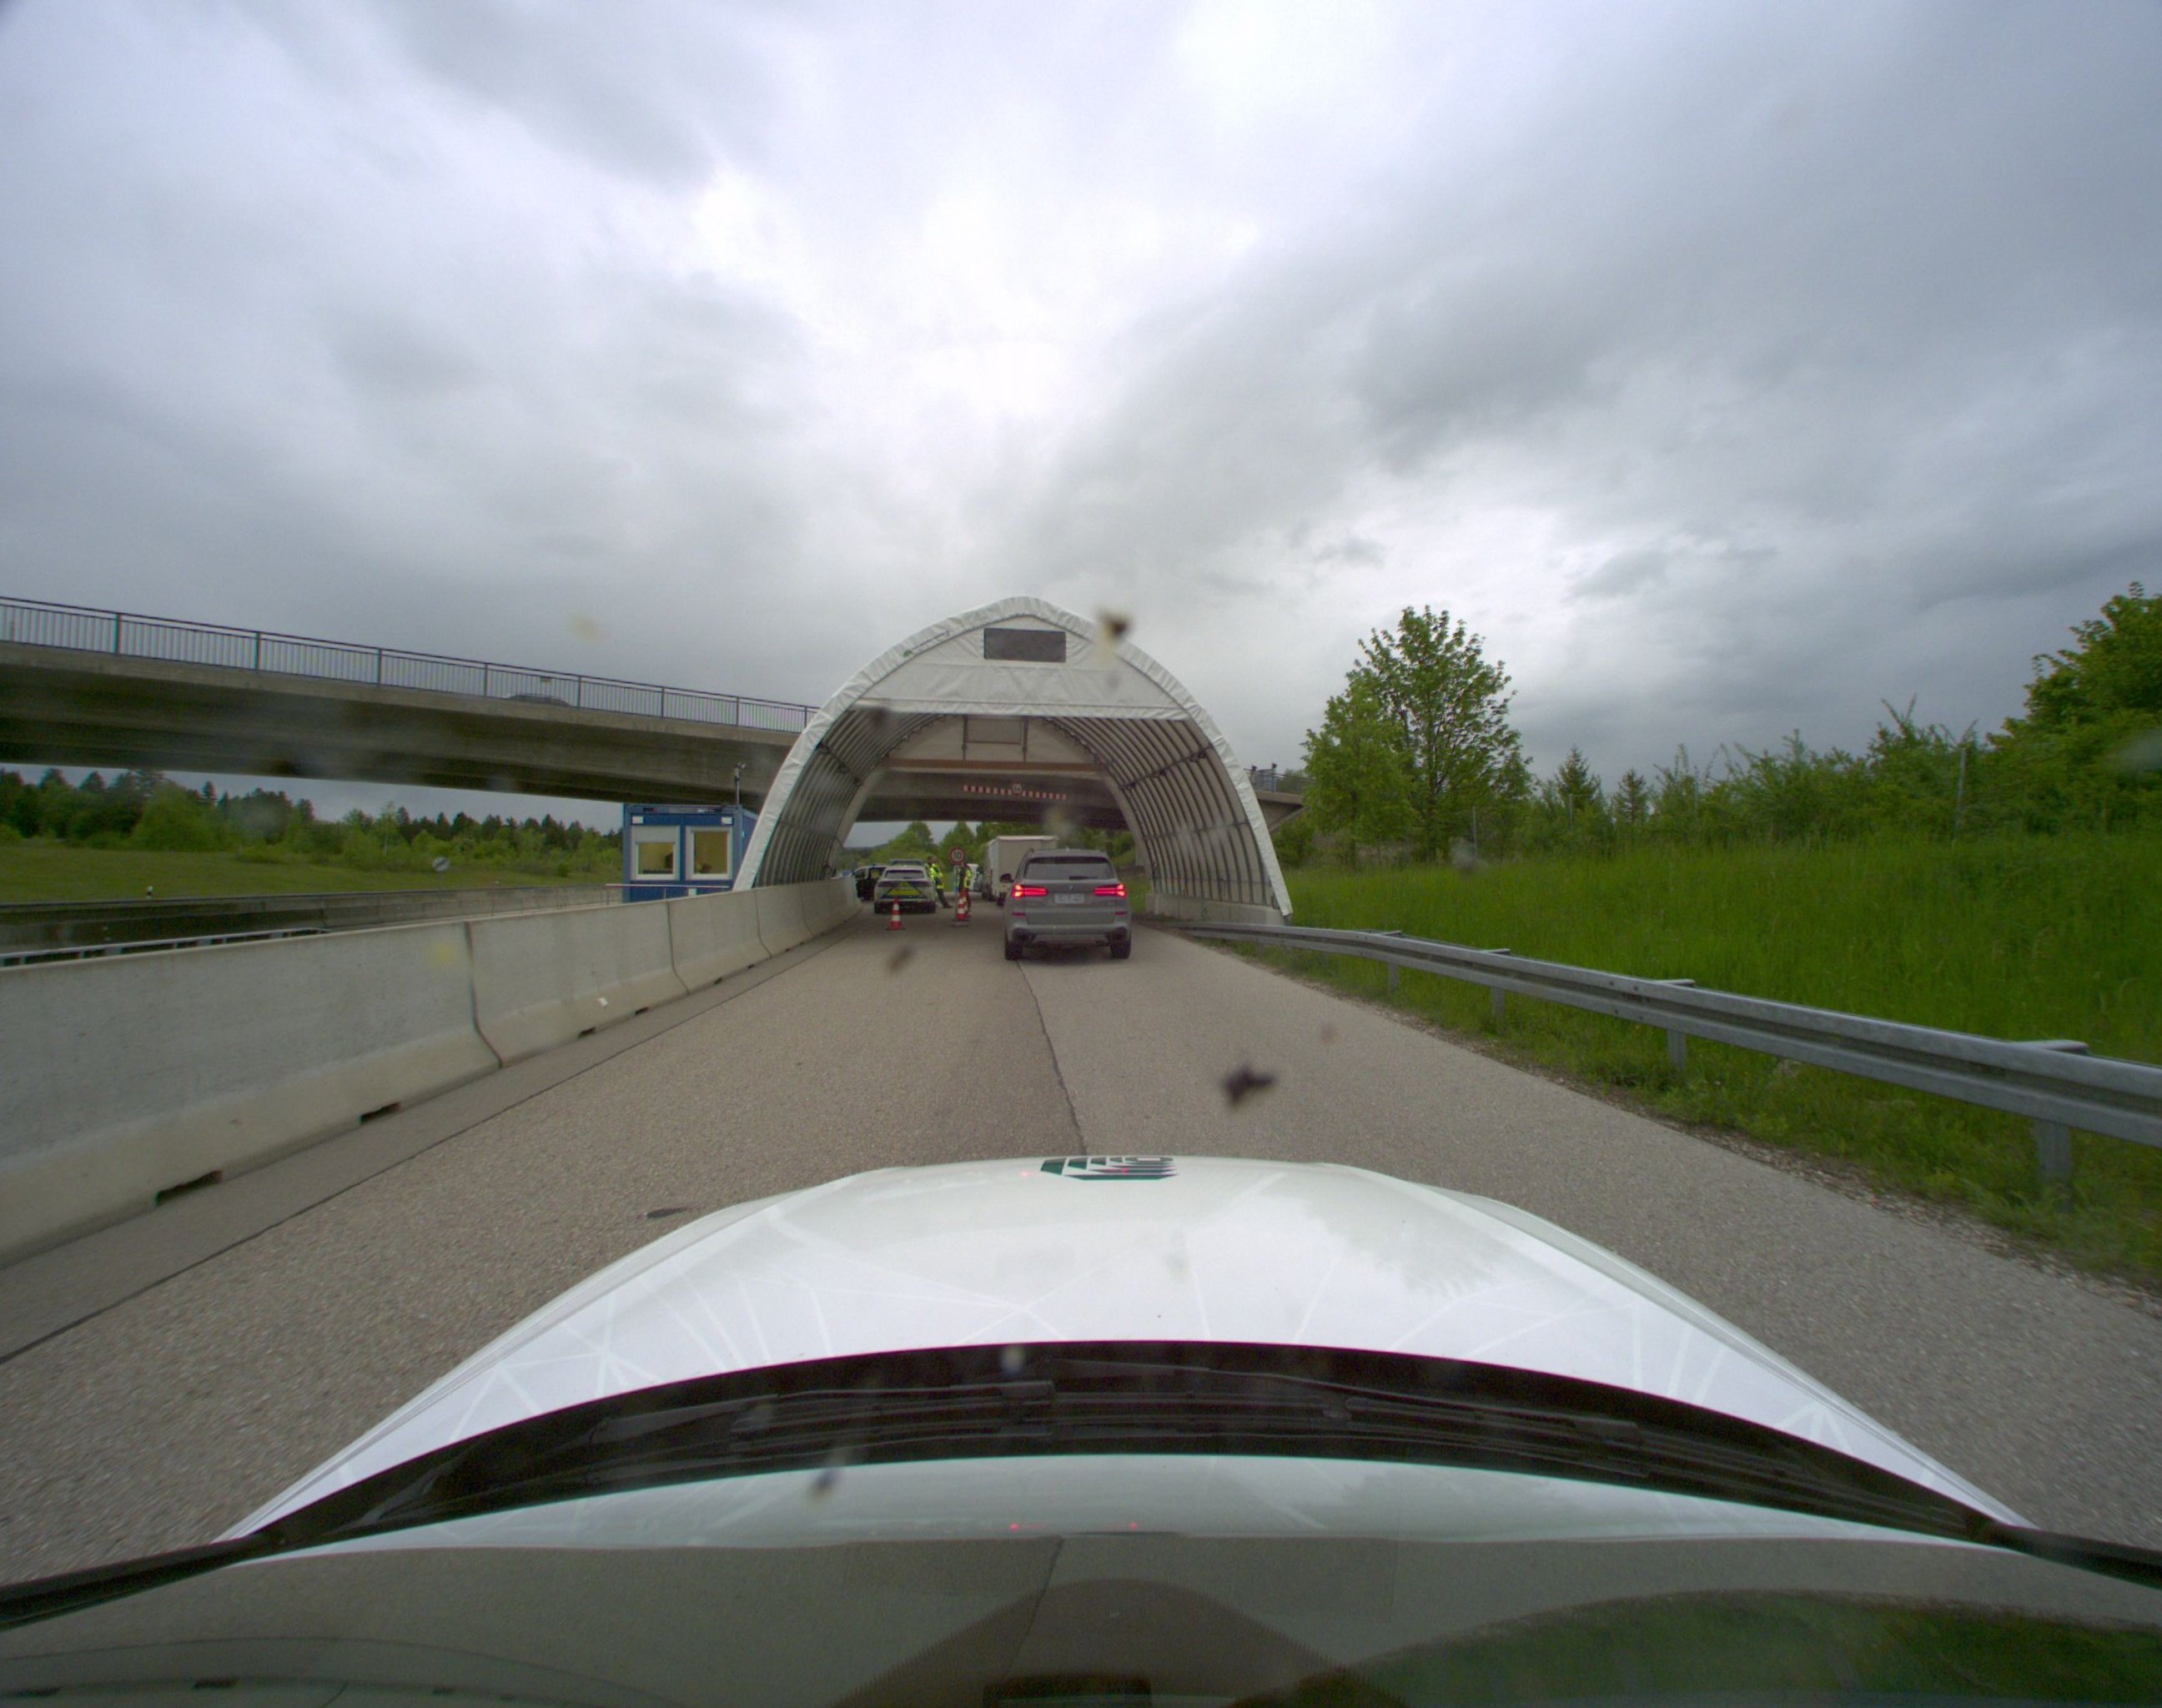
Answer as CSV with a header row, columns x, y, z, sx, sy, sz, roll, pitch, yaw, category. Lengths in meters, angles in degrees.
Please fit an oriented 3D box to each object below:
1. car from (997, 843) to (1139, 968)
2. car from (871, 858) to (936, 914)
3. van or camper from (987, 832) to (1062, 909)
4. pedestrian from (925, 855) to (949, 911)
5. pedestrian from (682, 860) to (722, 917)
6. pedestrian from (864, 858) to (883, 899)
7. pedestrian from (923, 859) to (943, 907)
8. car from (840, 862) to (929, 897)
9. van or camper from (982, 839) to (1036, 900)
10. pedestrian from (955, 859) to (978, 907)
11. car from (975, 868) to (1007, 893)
x,y,z,sx,sy,sz,roll,pitch,yaw,category
-0.387,0.776,13.861,1.992,1.766,3.990,-1,-1,-7,car
-5.788,1.008,26.636,1.879,1.647,3.983,-1,-1,-12,car
-2.295,0.618,30.985,2.230,2.552,6.589,-1,-1,-9,van or camper
-5.090,1.013,28.806,0.750,1.919,0.759,-1,-1,-13,pedestrian
-9.262,0.838,19.916,0.606,1.373,0.629,-2,-1,10,pedestrian
-10.376,1.234,40.773,0.698,2.014,0.692,-1,-1,1,pedestrian
-5.431,1.055,29.845,0.607,1.754,0.665,-1,-1,-4,pedestrian
-11.802,1.541,49.058,4.777,2.014,1.845,-1,-1,9,car
-3.371,0.709,37.059,2.103,2.519,5.534,-1,-1,-9,van or camper
-4.167,1.039,29.545,0.755,1.722,0.779,-1,-1,-12,pedestrian
-6.522,1.883,58.598,1.994,1.722,3.882,-1,-1,-11,car
